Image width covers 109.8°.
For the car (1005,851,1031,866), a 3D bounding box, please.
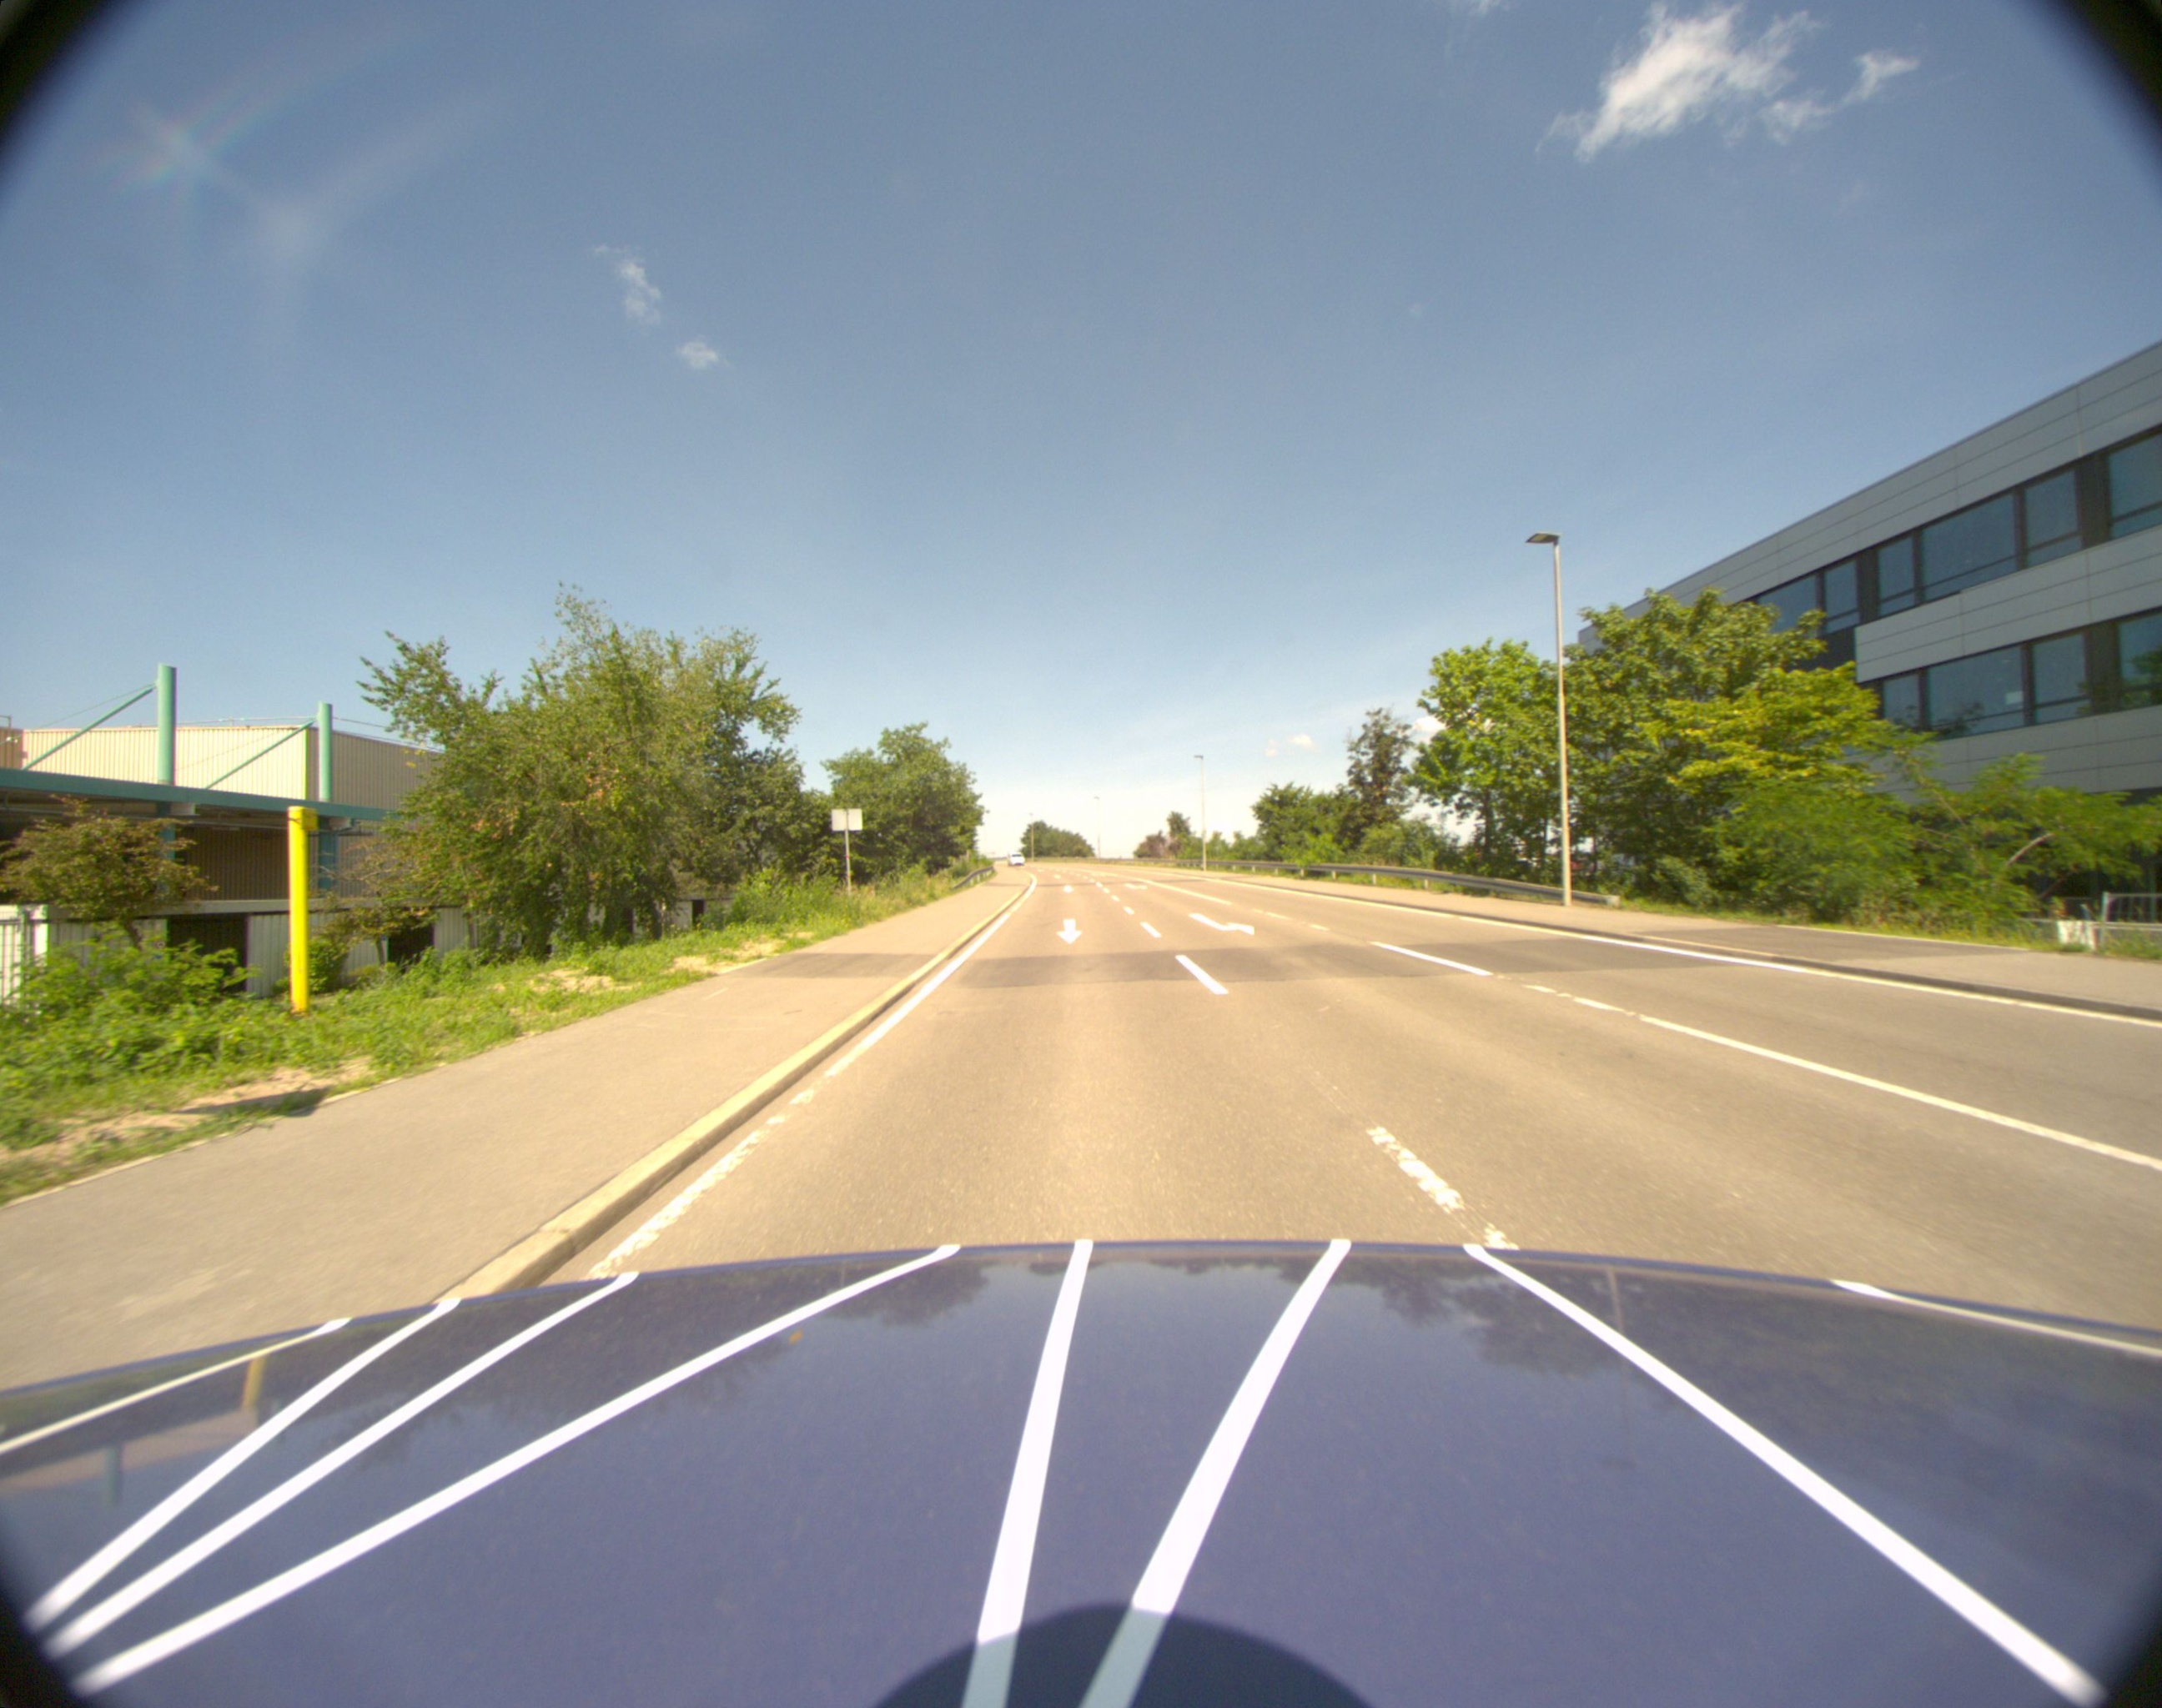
[{"bbox_3d":[-8.616,0.596,103.174,2.096,1.750,4.275,-4,0,-24],"label":"car"}]
